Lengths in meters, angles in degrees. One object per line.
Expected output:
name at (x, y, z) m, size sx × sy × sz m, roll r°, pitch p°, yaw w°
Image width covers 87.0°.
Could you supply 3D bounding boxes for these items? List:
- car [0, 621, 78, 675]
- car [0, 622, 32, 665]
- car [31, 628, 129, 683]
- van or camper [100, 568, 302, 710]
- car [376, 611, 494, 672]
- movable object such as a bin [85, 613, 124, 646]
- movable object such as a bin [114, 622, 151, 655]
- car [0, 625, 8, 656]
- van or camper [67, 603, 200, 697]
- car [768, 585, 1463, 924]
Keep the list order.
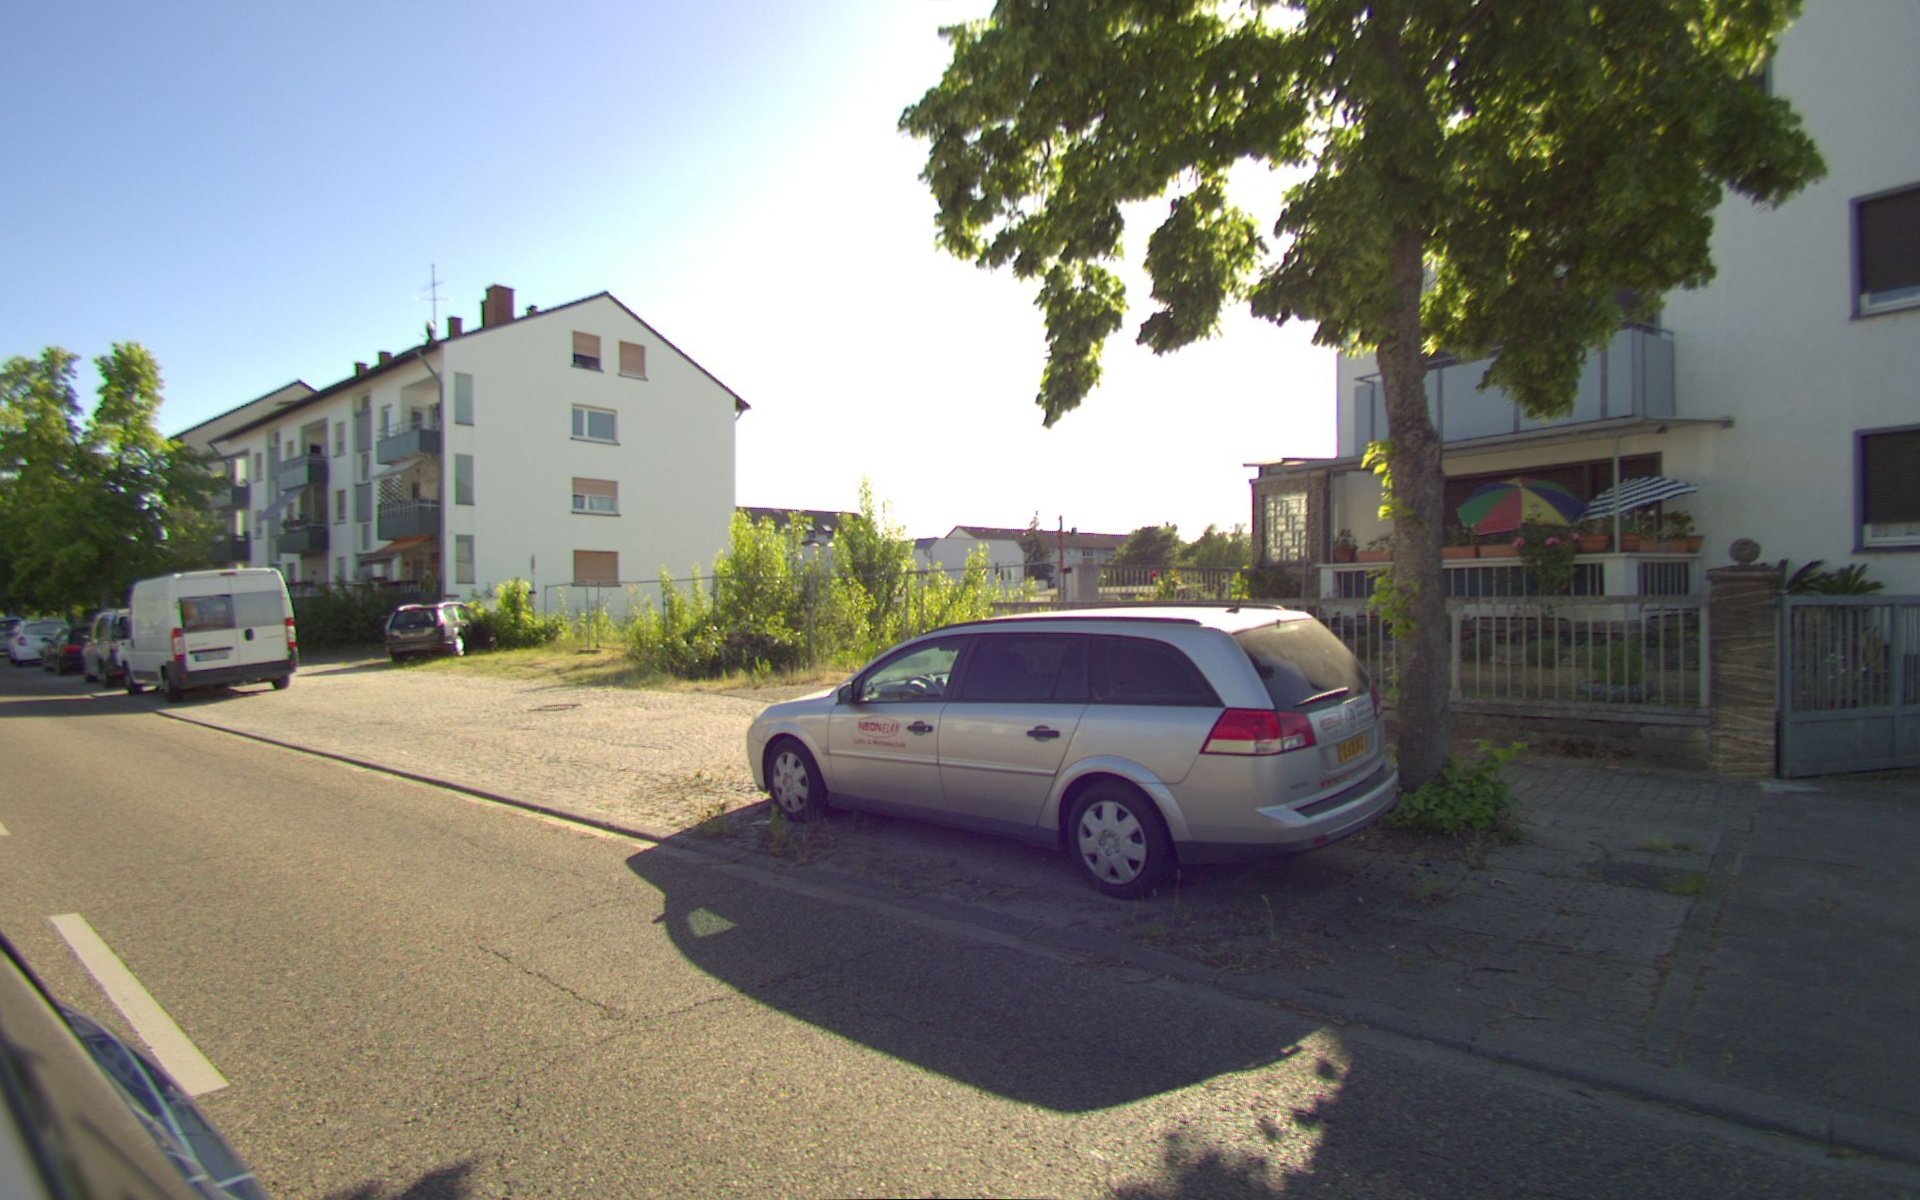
car at (-30.862, 1.567, 33.857) m, size 3.908 × 1.577 × 1.674 m, roll -1°, pitch 2°, yaw 44°
car at (-40.020, 1.823, 42.125) m, size 3.909 × 1.604 × 1.703 m, roll -1°, pitch 4°, yaw 44°
car at (-25.855, 1.578, 29.682) m, size 4.311 × 1.446 × 1.592 m, roll -2°, pitch 0°, yaw 42°
van or camper at (-15.962, 0.756, 21.151) m, size 5.552 × 2.508 × 2.101 m, roll -2°, pitch 2°, yaw 41°
car at (-14.583, 1.088, 28.368) m, size 1.589 × 1.525 × 4.396 m, roll -1°, pitch 0°, yaw -9°
movable object such as a bin at (-43.814, 1.497, 51.850) m, size 1.267 × 1.675 × 1.397 m, roll -2°, pitch -1°, yaw 43°
movable object such as a bin at (-41.425, 1.916, 50.636) m, size 1.327 × 1.555 × 1.276 m, roll -2°, pitch -1°, yaw 43°
car at (-48.903, 2.091, 50.313) m, size 4.540 × 1.504 × 1.705 m, roll -1°, pitch 4°, yaw 40°
van or camper at (-20.504, 1.180, 25.043) m, size 4.278 × 2.028 × 1.858 m, roll -1°, pitch 2°, yaw 42°
car at (0.718, 0.715, 6.537) m, size 4.209 × 1.446 × 1.668 m, roll -2°, pitch 1°, yaw 43°
